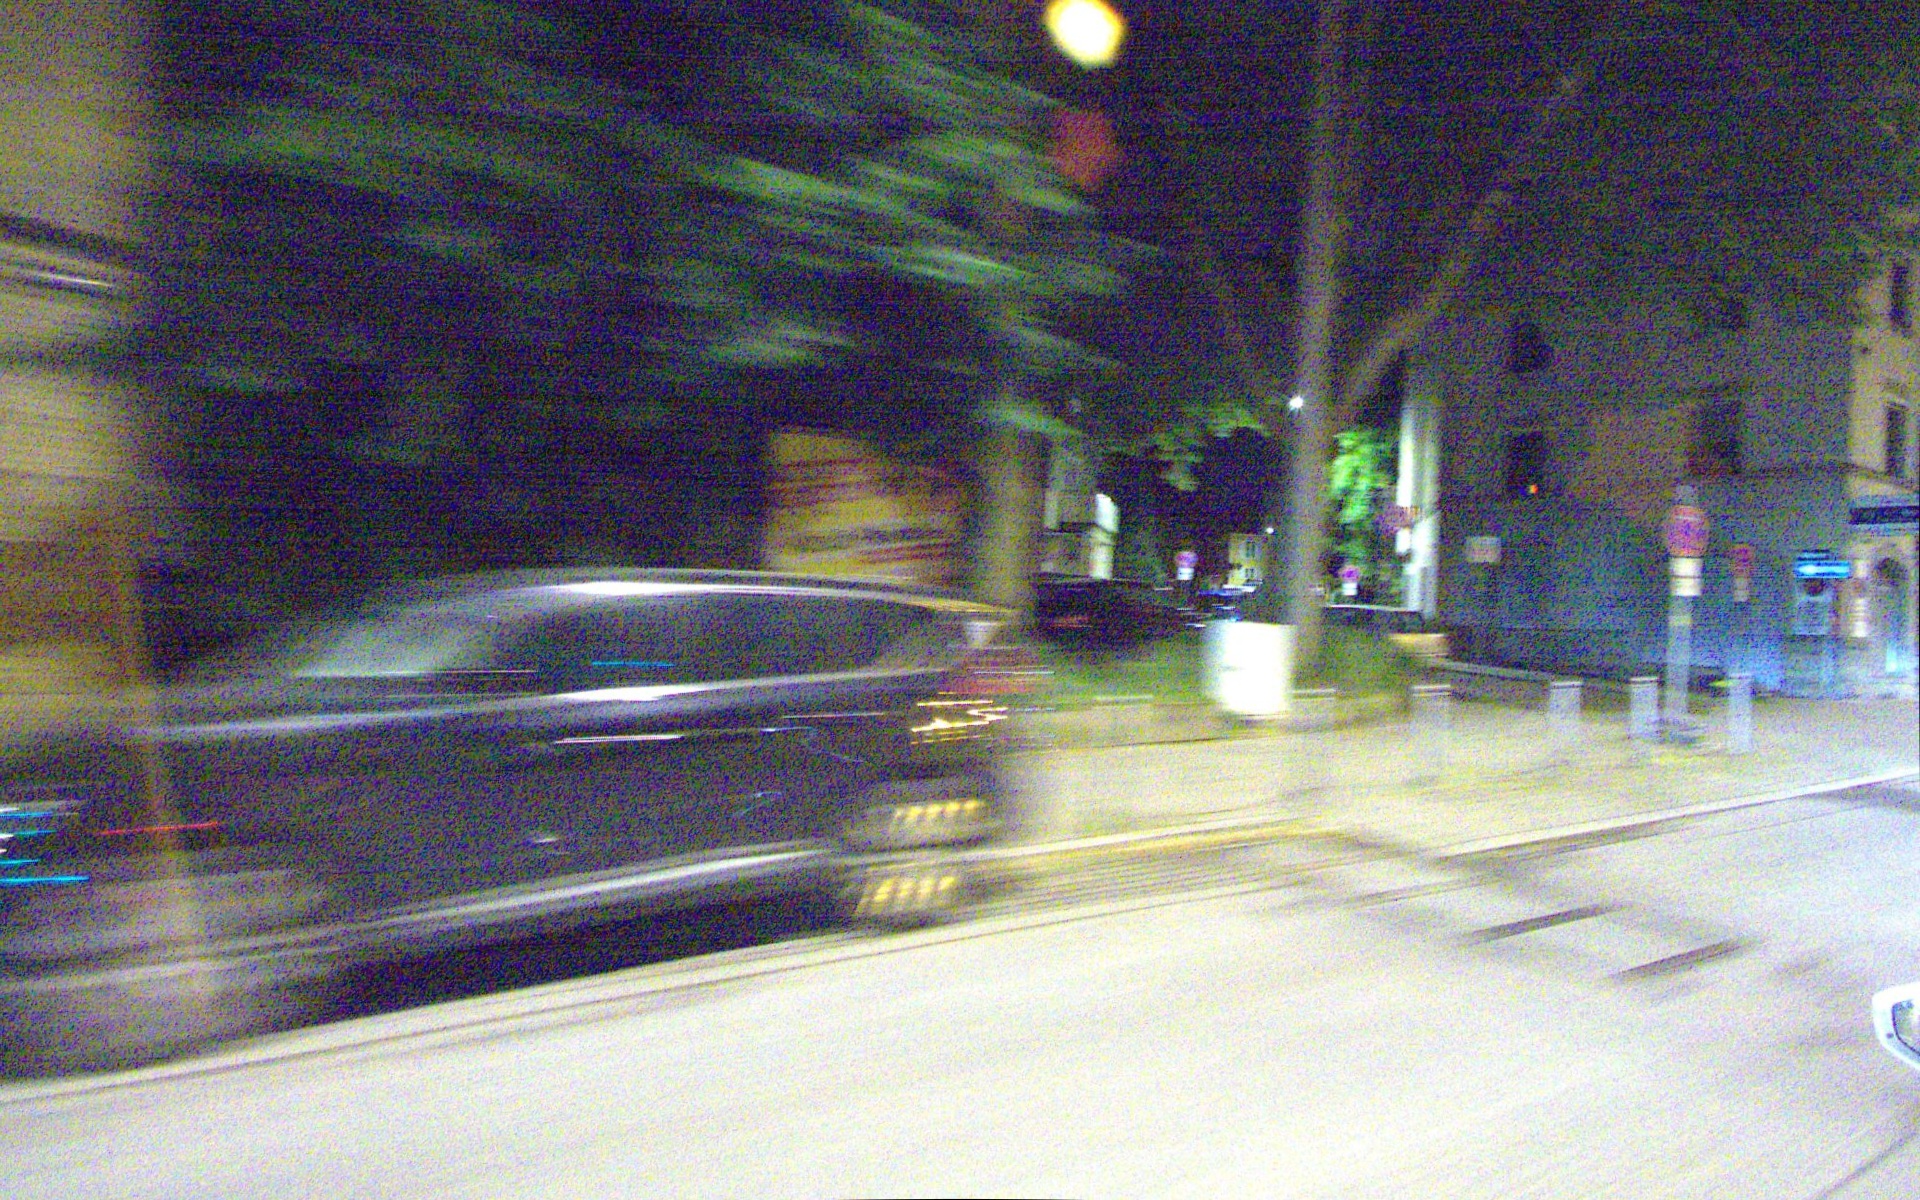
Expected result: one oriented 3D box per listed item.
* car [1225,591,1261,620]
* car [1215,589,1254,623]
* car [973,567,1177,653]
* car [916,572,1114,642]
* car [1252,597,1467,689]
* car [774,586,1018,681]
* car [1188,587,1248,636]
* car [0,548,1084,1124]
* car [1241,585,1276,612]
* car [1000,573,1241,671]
[{"bbox_3d":[16.022,0.263,56.782,1.733,1.501,3.711,2,2,19],"label":"car"},{"bbox_3d":[13.353,0.259,48.938,1.733,1.501,3.712,2,2,15],"label":"car"},{"bbox_3d":[2.447,0.214,21.485,3.921,1.628,1.753,2,2,-21],"label":"car"},{"bbox_3d":[1.269,0.166,23.240,4.263,1.437,1.670,2,0,-21],"label":"car"},{"bbox_3d":[7.777,0.785,19.987,1.735,1.444,3.981,2,2,-20],"label":"car"},{"bbox_3d":[-0.985,0.507,15.868,3.523,1.334,1.547,2,0,-32],"label":"car"},{"bbox_3d":[9.069,0.401,35.179,1.697,1.581,3.382,2,0,20],"label":"car"},{"bbox_3d":[-1.793,0.679,4.665,4.622,1.672,1.837,0,1,-34],"label":"car"},{"bbox_3d":[19.510,-0.101,65.573,1.778,1.656,3.622,2,0,23],"label":"car"},{"bbox_3d":[2.954,0.400,18.302,4.139,1.559,1.747,2,3,-31],"label":"car"}]
